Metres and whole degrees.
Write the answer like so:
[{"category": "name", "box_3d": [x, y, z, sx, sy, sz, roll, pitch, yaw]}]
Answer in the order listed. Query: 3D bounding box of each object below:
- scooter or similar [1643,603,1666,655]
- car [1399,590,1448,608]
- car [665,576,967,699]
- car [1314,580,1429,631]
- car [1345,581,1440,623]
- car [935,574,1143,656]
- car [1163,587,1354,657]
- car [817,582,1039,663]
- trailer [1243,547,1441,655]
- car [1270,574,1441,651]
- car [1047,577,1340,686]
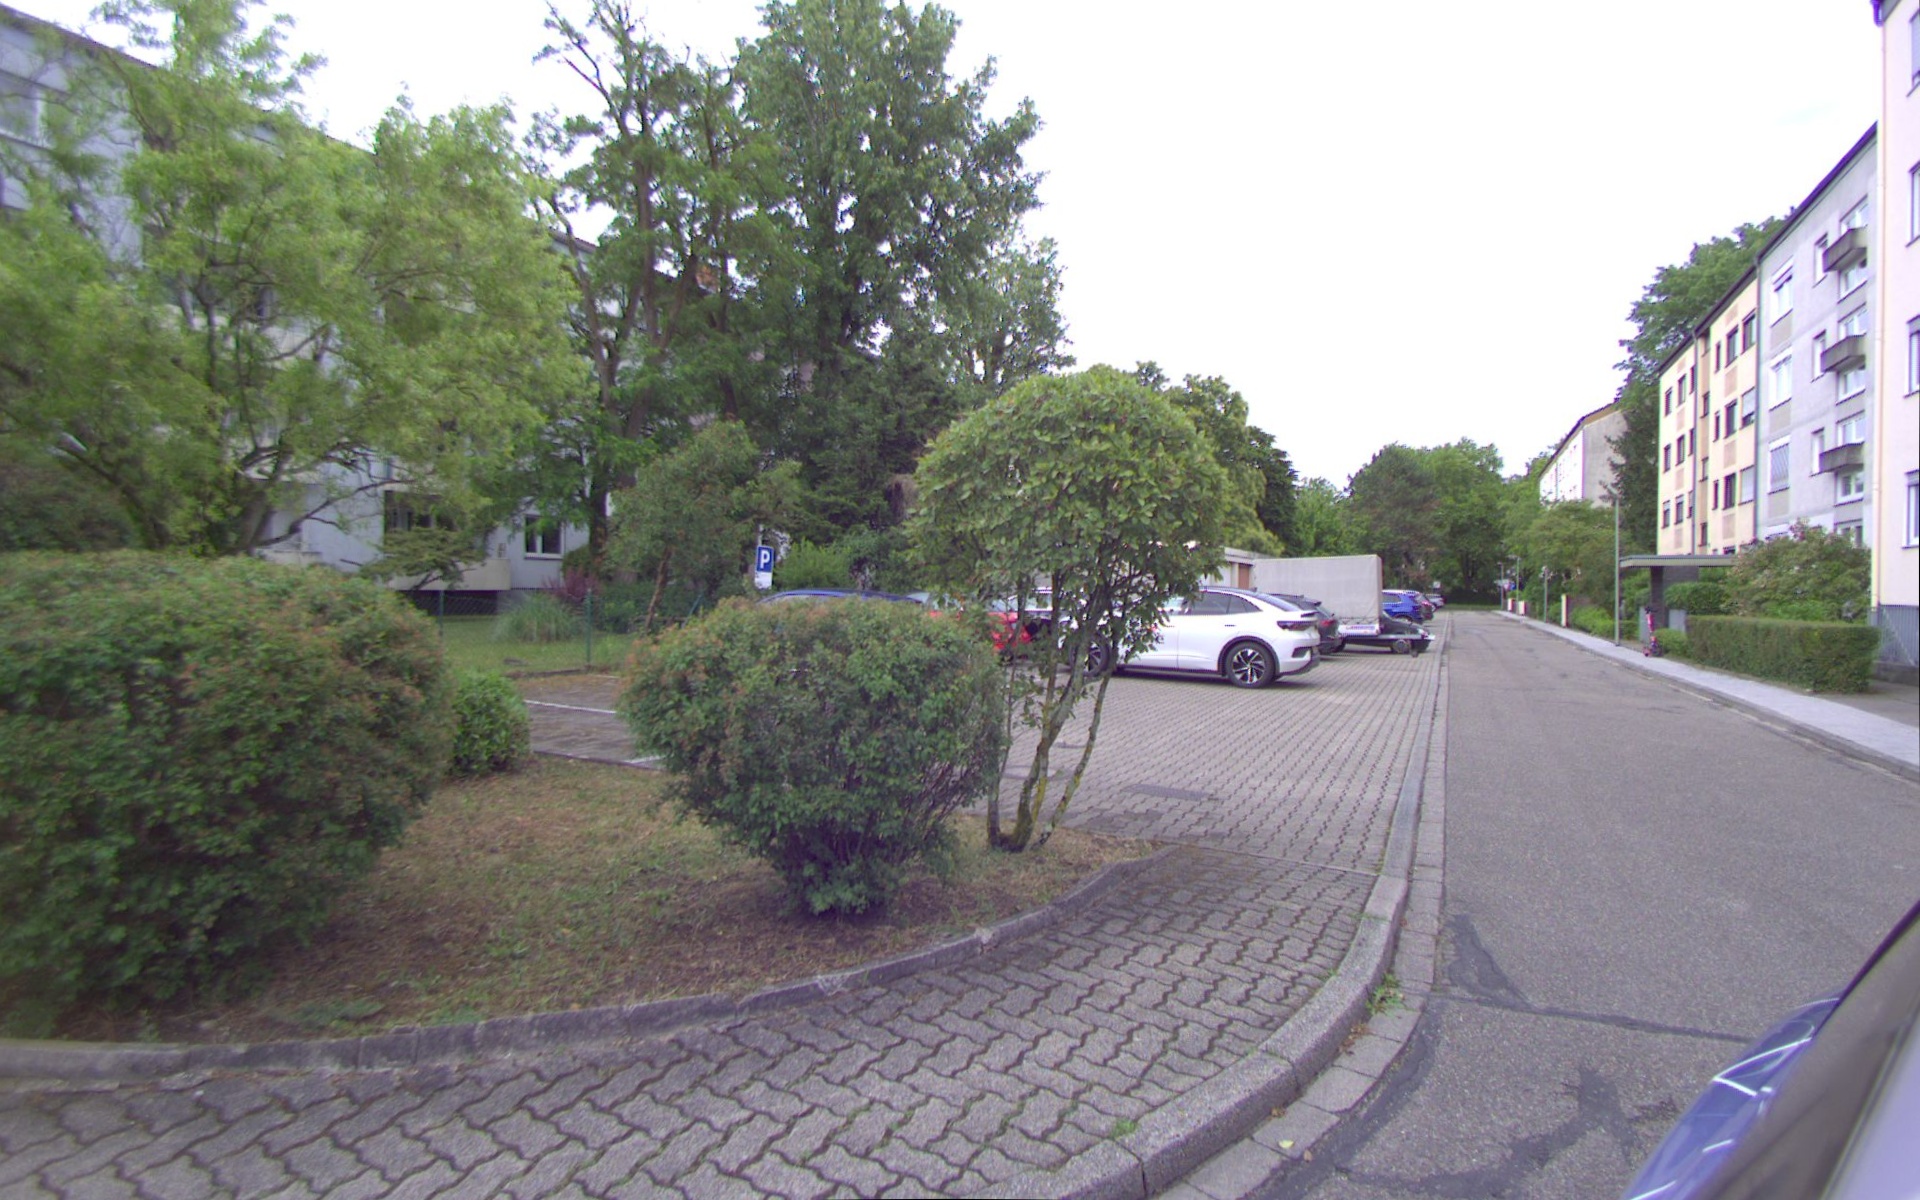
[{"category": "scooter or similar", "box_3d": [16.975, 0.701, 24.742, 0.271, 1.226, 1.154, 1, 0, 25]}, {"category": "car", "box_3d": [43.509, -0.111, 95.013, 4.065, 1.666, 1.772, 1, 1, 26]}, {"category": "car", "box_3d": [-2.076, 0.450, 14.584, 3.872, 1.529, 2.009, 1, 0, 27]}, {"category": "car", "box_3d": [15.950, 0.185, 39.248, 3.961, 1.724, 1.982, 4, 1, 27]}, {"category": "car", "box_3d": [21.184, 0.074, 49.571, 4.168, 1.748, 1.982, 4, 1, 27]}, {"category": "car", "box_3d": [1.671, 0.274, 21.064, 3.950, 1.571, 1.987, 0, 0, 20]}, {"category": "car", "box_3d": [7.012, 0.471, 23.833, 4.101, 1.467, 1.597, 2, 1, 27]}, {"category": "car", "box_3d": [-0.630, 0.379, 19.674, 3.872, 1.398, 1.953, 1, 1, 27]}, {"category": "trailer", "box_3d": [9.812, -0.008, 26.034, 4.580, 2.557, 1.924, 1, 0, 28]}, {"category": "car", "box_3d": [11.145, 0.298, 28.554, 4.283, 1.824, 1.982, 4, 1, 27]}, {"category": "car", "box_3d": [3.943, 0.446, 17.252, 4.511, 1.608, 1.968, 1, 0, 29]}]
